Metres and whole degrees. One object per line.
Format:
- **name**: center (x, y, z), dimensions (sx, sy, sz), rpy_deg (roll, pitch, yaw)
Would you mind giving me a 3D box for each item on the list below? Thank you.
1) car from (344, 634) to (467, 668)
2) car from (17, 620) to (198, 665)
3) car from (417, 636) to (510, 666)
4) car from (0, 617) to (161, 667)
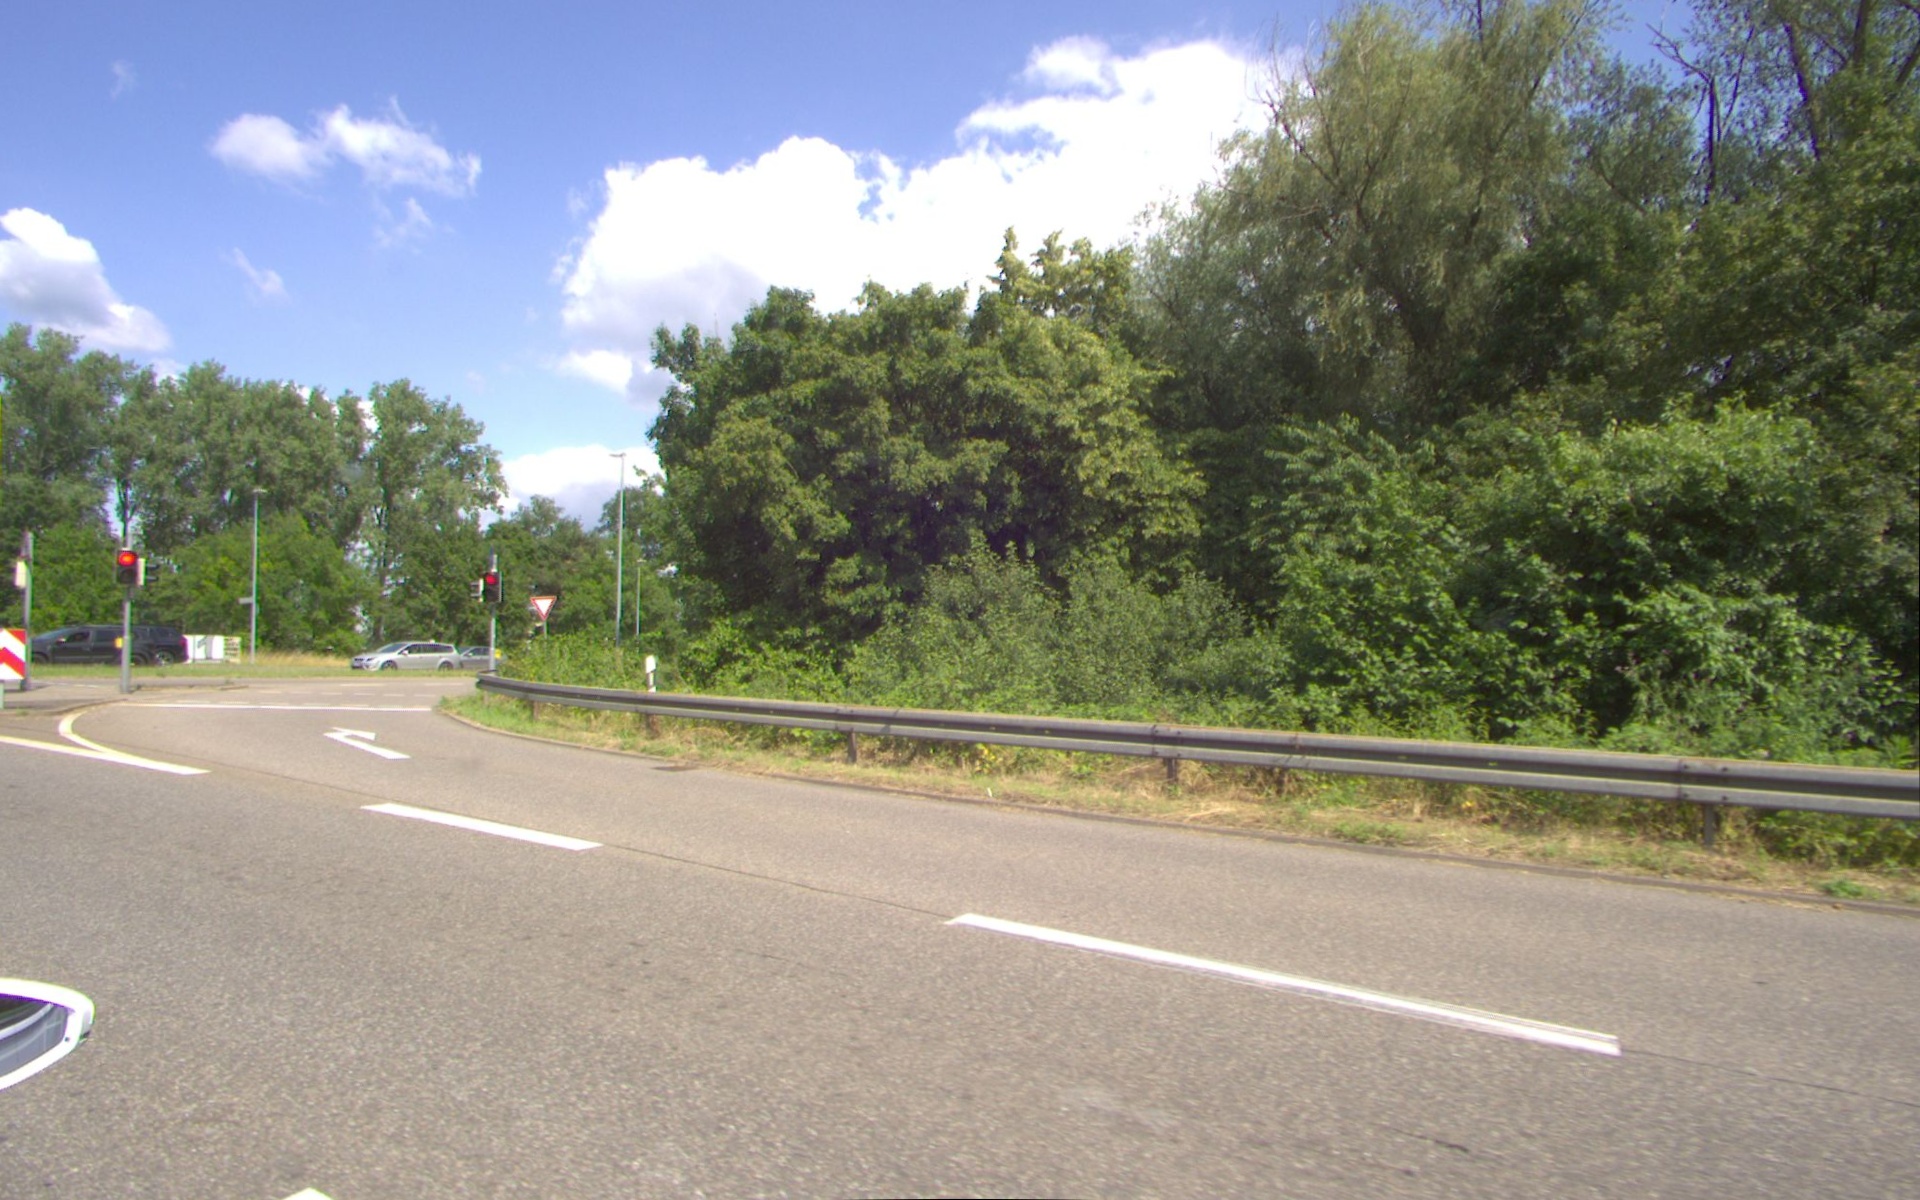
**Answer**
- **car**: center (-23.977, 2.207, 43.482), dimensions (1.710, 1.337, 4.471), rpy_deg (0, -3, 28)
- **car**: center (-31.658, 1.599, 37.365), dimensions (1.711, 1.564, 4.843), rpy_deg (0, -3, 30)
- **car**: center (-26.843, 2.768, 54.259), dimensions (1.970, 1.515, 4.104), rpy_deg (0, -3, 29)
- **car**: center (-29.593, 1.407, 33.406), dimensions (1.711, 1.564, 4.264), rpy_deg (0, -3, 30)
